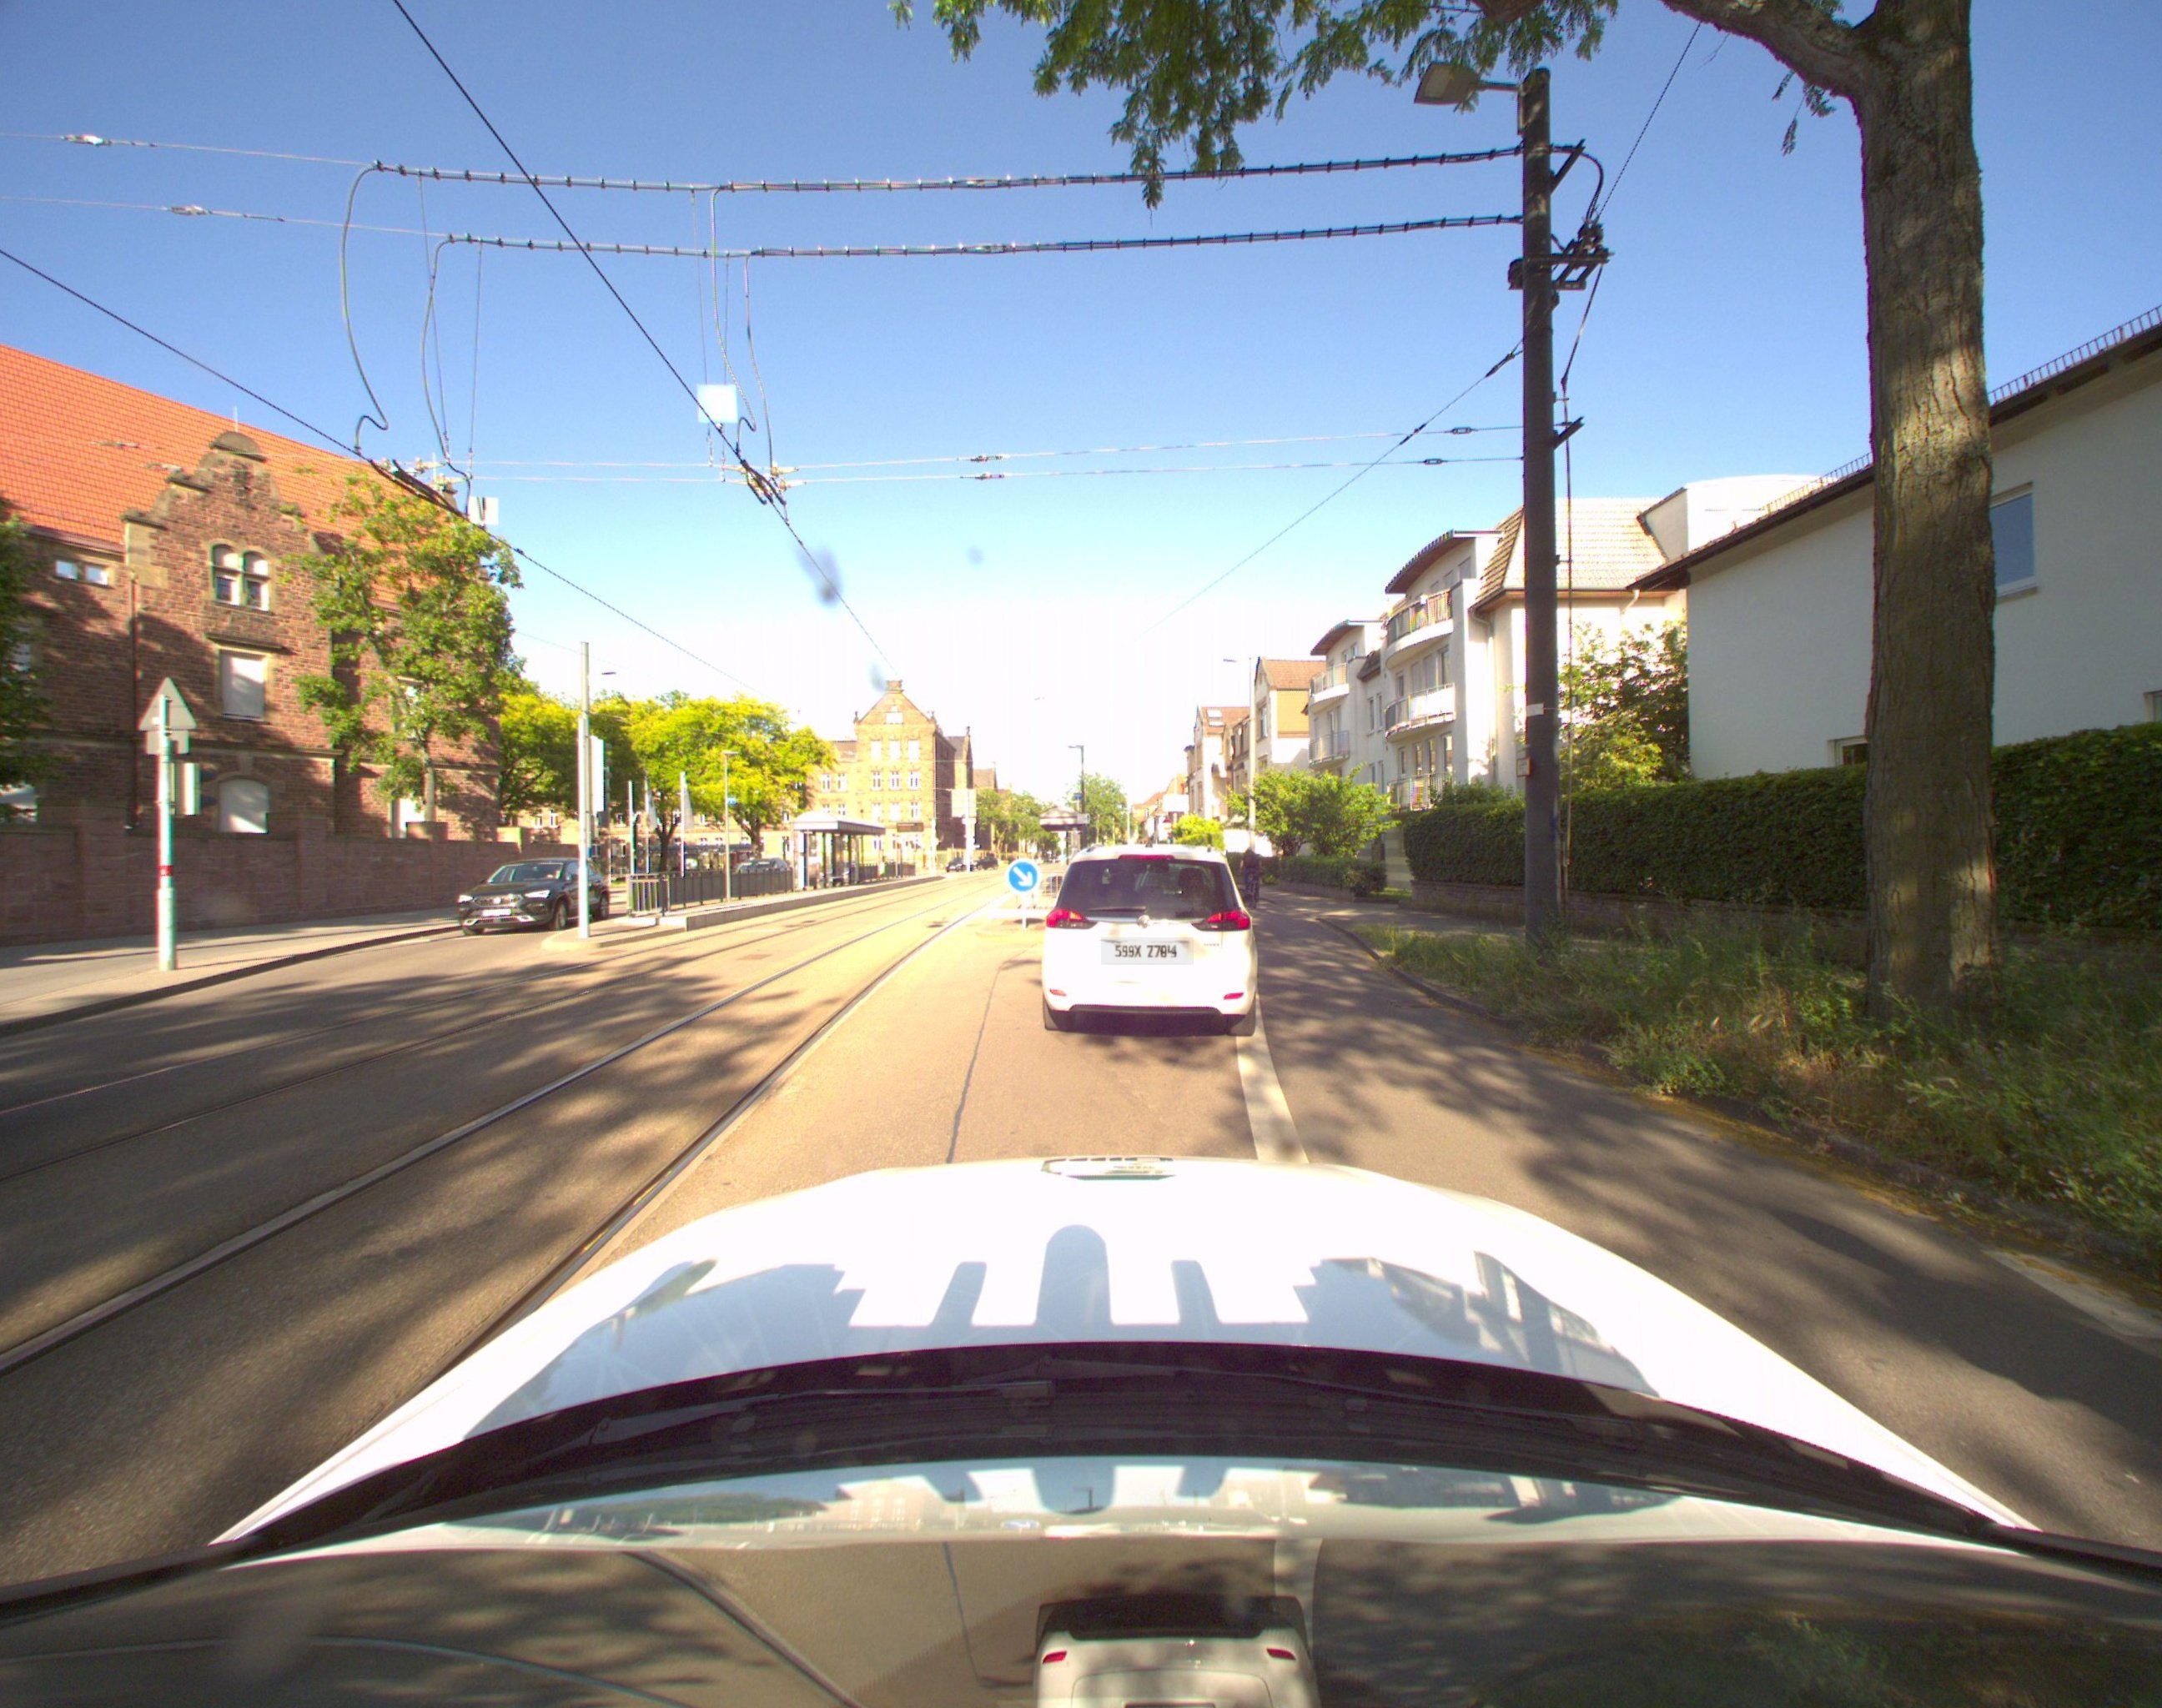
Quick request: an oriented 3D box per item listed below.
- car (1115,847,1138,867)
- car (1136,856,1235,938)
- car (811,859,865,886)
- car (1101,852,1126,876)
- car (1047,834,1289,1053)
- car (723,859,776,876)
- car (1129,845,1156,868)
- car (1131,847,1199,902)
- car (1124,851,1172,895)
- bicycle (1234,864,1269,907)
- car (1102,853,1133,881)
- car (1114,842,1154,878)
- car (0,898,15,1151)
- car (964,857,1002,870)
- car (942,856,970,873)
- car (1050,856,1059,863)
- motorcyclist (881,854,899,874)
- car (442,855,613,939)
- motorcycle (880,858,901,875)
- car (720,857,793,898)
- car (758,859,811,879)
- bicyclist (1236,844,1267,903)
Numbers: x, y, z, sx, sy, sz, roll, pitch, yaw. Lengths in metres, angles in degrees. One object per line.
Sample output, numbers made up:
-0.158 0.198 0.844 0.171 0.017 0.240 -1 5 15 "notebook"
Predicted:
3.669 0.256 66.442 1.769 1.632 3.881 0 -1 1 "car"
2.029 0.790 16.742 1.581 1.420 3.901 -1 0 1 "car"
-14.266 1.048 48.065 1.878 1.415 4.622 -1 0 -1 "car"
2.321 0.714 59.158 1.769 1.692 3.881 0 -1 1 "car"
0.667 0.692 8.152 1.829 1.642 3.918 0 -1 0 "car"
-30.399 1.255 74.668 4.050 1.522 1.878 0 -1 1 "car"
4.496 0.199 60.059 1.769 1.632 3.881 0 -1 1 "car"
2.639 0.637 26.366 1.770 1.632 3.879 0 -1 -1 "car"
2.629 0.734 32.512 1.768 1.632 3.883 0 -1 3 "car"
4.839 0.870 23.159 0.683 1.157 1.620 0 -1 2 "bicycle"
2.195 0.765 48.746 1.769 1.632 3.882 0 -1 2 "car"
2.483 0.274 39.182 1.769 1.632 3.882 0 -1 1 "car"
-6.325 0.964 2.393 1.740 1.422 4.234 -1 0 -18 "car"
-11.480 1.118 95.824 4.021 1.546 1.976 0 -1 -40 "car"
-12.108 0.988 79.070 1.986 1.546 4.001 0 -1 2 "car"
-6.163 1.270 186.776 1.901 1.677 4.356 -1 0 -1 "car"
-14.339 0.757 61.156 1.122 1.525 1.053 0 -1 -5 "motorcyclist"
-12.215 0.871 18.310 1.925 1.616 4.095 -2 0 -16 "car"
-14.337 0.950 61.221 1.128 1.243 2.569 0 -1 -4 "motorcycle"
-14.278 0.968 36.041 1.793 1.637 4.112 -2 0 -5 "car"
-25.226 1.249 69.431 3.844 1.660 1.751 0 -1 1 "car"
4.832 0.539 23.118 0.683 1.634 1.016 0 -1 2 "bicyclist"
